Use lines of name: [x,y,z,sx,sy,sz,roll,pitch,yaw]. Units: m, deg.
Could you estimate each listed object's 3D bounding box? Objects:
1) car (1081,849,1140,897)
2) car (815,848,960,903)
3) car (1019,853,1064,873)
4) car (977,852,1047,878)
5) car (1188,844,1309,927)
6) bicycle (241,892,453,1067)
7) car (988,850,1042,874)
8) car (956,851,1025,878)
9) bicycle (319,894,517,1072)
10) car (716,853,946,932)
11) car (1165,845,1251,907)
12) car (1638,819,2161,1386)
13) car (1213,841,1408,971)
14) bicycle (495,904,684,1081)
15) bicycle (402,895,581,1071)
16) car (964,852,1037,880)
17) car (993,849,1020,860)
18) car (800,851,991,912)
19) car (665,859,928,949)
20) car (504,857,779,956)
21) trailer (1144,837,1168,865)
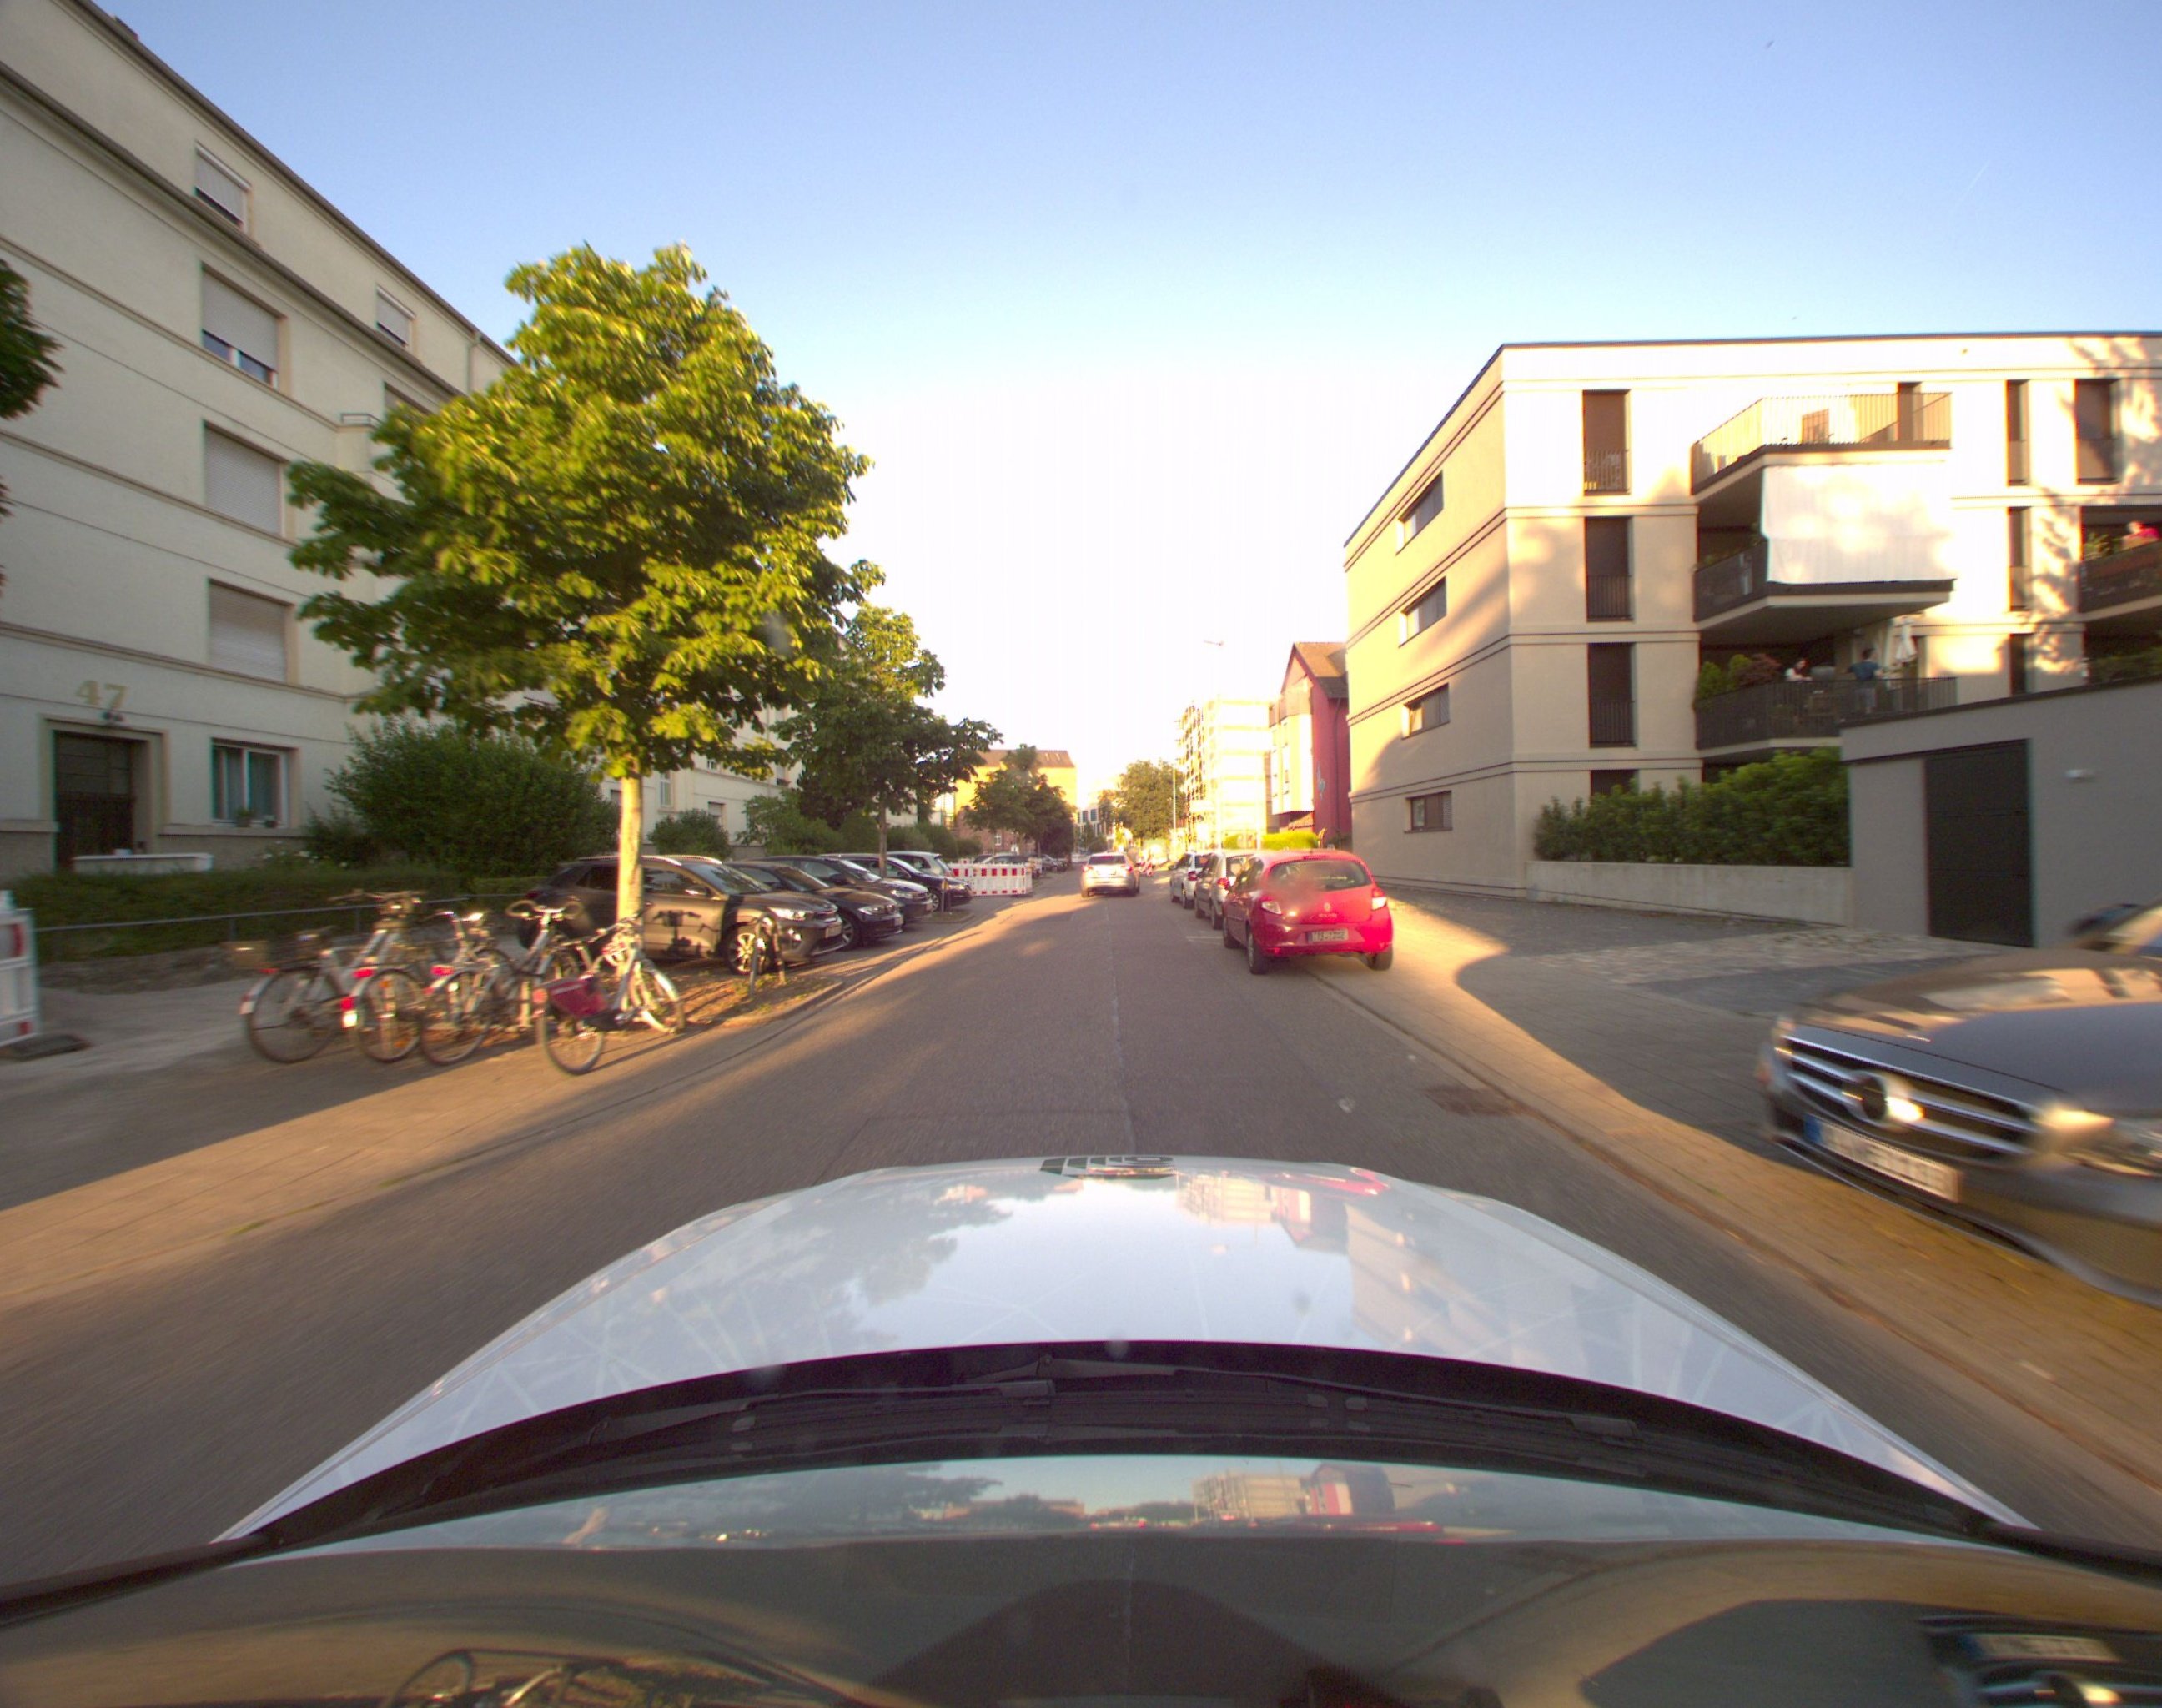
car: [0.977,0.571,26.917,1.769,1.397,4.110,-1,0,2]
car: [-5.474,0.588,23.346,3.684,1.484,1.729,0,0,3]
car: [-3.232,0.729,67.178,3.611,1.557,1.693,-1,0,1]
car: [-4.140,0.672,49.215,3.961,1.489,1.729,0,-1,3]
car: [3.300,0.566,16.718,1.790,1.469,3.845,-1,0,2]
bicycle: [-5.810,0.928,6.557,0.278,1.158,1.527,-1,0,1]
car: [-4.301,0.542,53.571,3.465,1.566,1.727,0,-1,-2]
car: [-5.098,0.594,46.149,3.662,1.484,1.729,0,-1,3]
bicycle: [-5.177,0.944,6.476,0.278,1.158,1.527,-1,0,1]
car: [-4.889,0.722,16.266,4.015,1.484,1.729,0,0,3]
car: [3.280,0.525,21.702,1.610,1.469,3.995,-1,0,-1]
car: [5.000,0.551,2.857,4.798,1.398,1.772,-3,1,3]
car: [2.956,0.589,11.284,1.734,1.469,3.761,-1,0,2]
bicycle: [-3.765,0.997,6.391,0.445,1.096,1.629,-1,0,1]
bicycle: [-4.649,0.950,6.541,0.278,1.158,1.527,-1,0,1]
car: [-4.278,0.635,43.633,3.662,1.445,1.729,0,-1,3]
car: [-10.774,0.098,117.508,3.638,1.503,1.629,-2,0,-15]
car: [-4.714,0.669,21.098,4.488,1.484,1.729,0,0,3]
car: [-4.662,0.794,13.671,3.826,1.384,1.608,0,0,3]
car: [-6.901,0.789,13.044,3.429,1.443,1.763,0,0,2]
trailer: [7.020,-0.297,76.550,1.986,2.539,4.188,-1,0,2]
